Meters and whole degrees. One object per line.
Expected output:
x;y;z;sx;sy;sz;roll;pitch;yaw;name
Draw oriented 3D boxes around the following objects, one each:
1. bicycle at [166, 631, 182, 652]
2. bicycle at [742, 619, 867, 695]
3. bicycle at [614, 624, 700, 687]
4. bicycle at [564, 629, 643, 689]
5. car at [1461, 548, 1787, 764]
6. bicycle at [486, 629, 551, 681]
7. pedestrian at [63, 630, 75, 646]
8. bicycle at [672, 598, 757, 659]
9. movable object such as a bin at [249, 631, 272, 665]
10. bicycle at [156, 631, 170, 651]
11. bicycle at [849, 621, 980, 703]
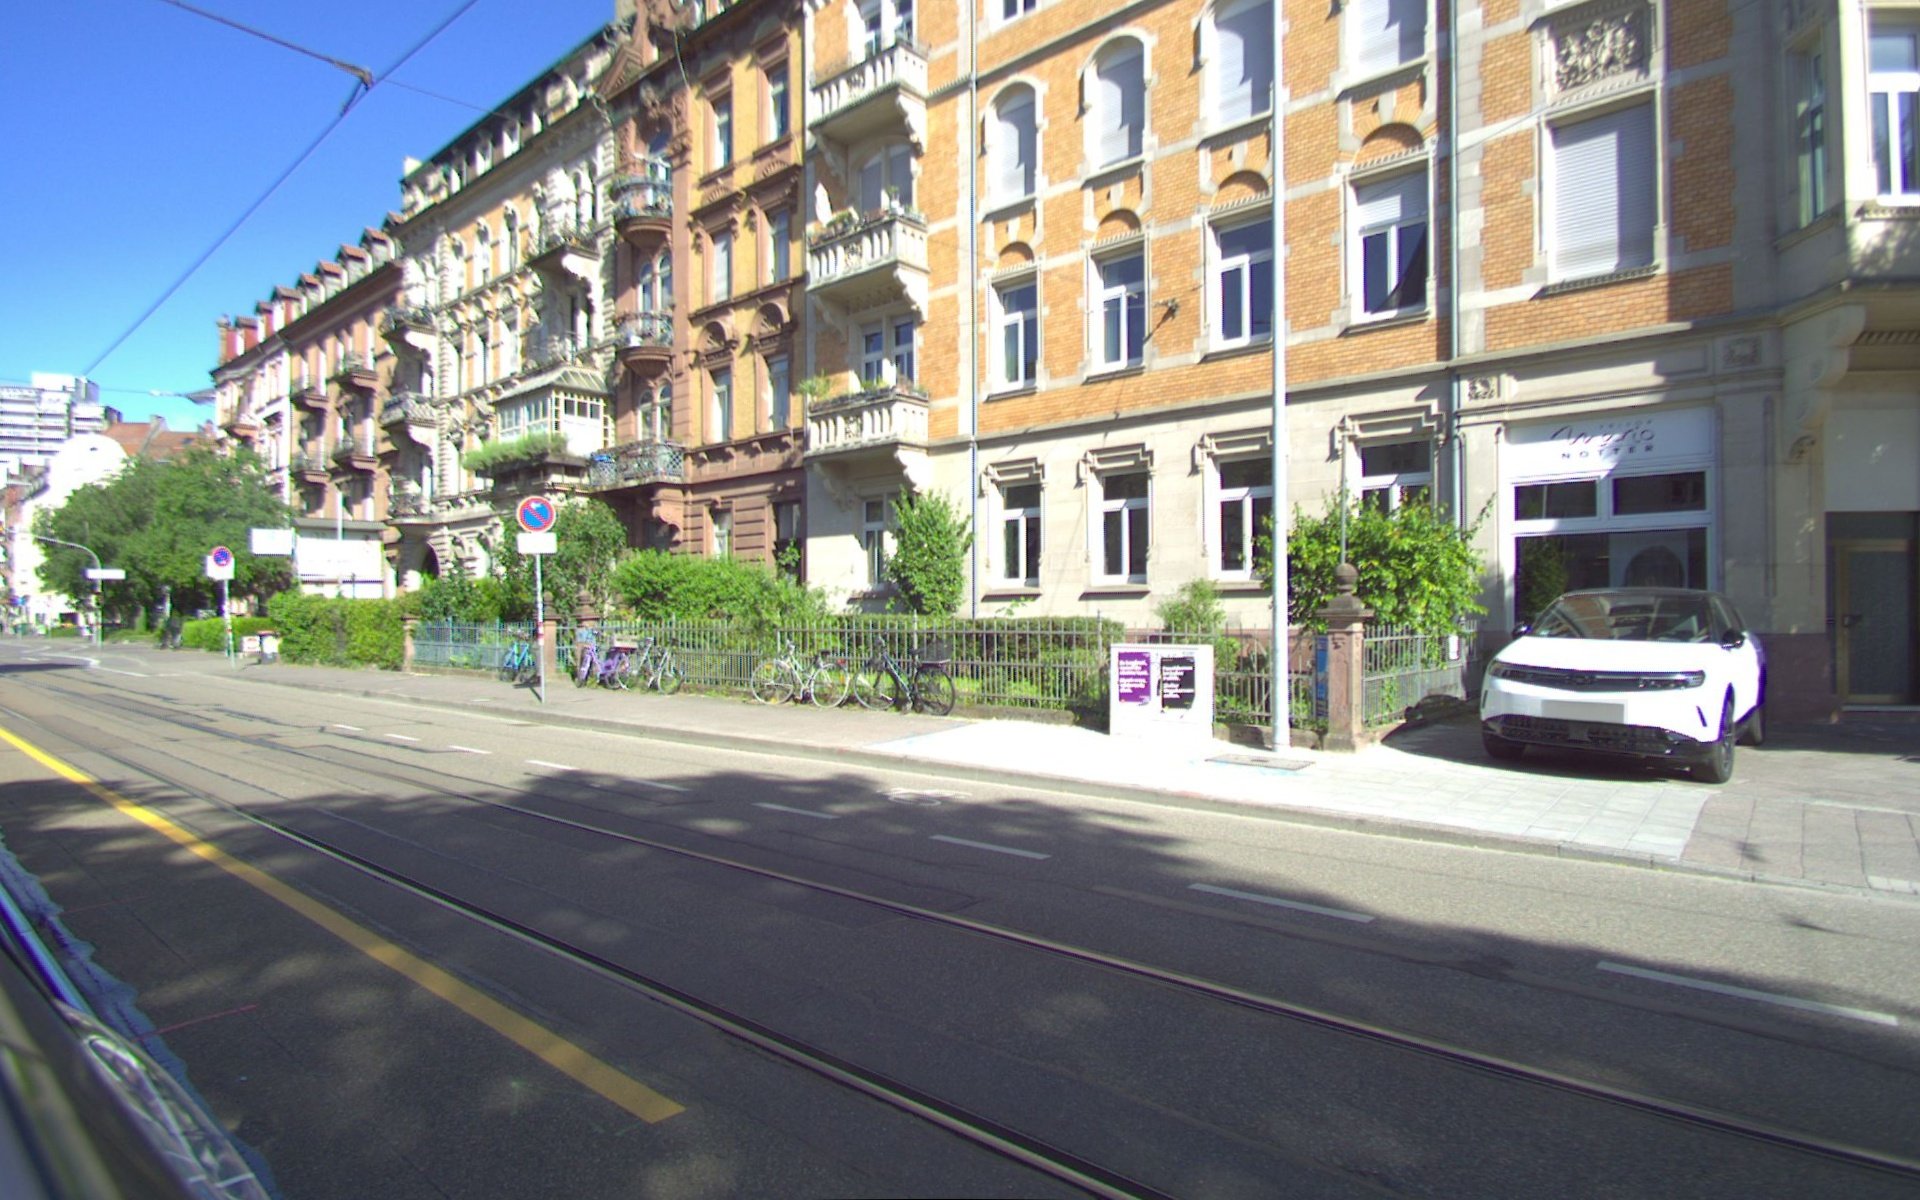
-36.520;1.904;47.035;0.338;0.933;1.944;-2;1;-44;bicycle
-2.360;0.868;15.355;1.752;1.041;0.562;-3;3;17;bicycle
-5.349;0.956;17.828;1.766;1.041;0.557;-2;1;40;bicycle
-6.727;1.091;19.075;1.766;1.041;0.557;-2;1;40;bicycle
6.736;0.376;10.033;1.967;1.656;4.397;-1;1;43;car
-9.494;1.181;21.717;1.767;1.041;0.557;-3;0;42;bicycle
-75.913;3.213;86.178;0.724;1.291;0.650;-1;0;41;pedestrian
-5.288;0.590;21.889;0.564;1.163;1.744;-2;2;40;bicycle
-22.920;1.569;33.147;0.541;1.094;0.474;-1;0;42;movable object such as a bin
-39.335;1.996;49.935;0.338;0.933;1.944;-2;1;-44;bicycle
-0.622;0.864;14.200;1.745;1.041;0.564;-3;0;5;bicycle
